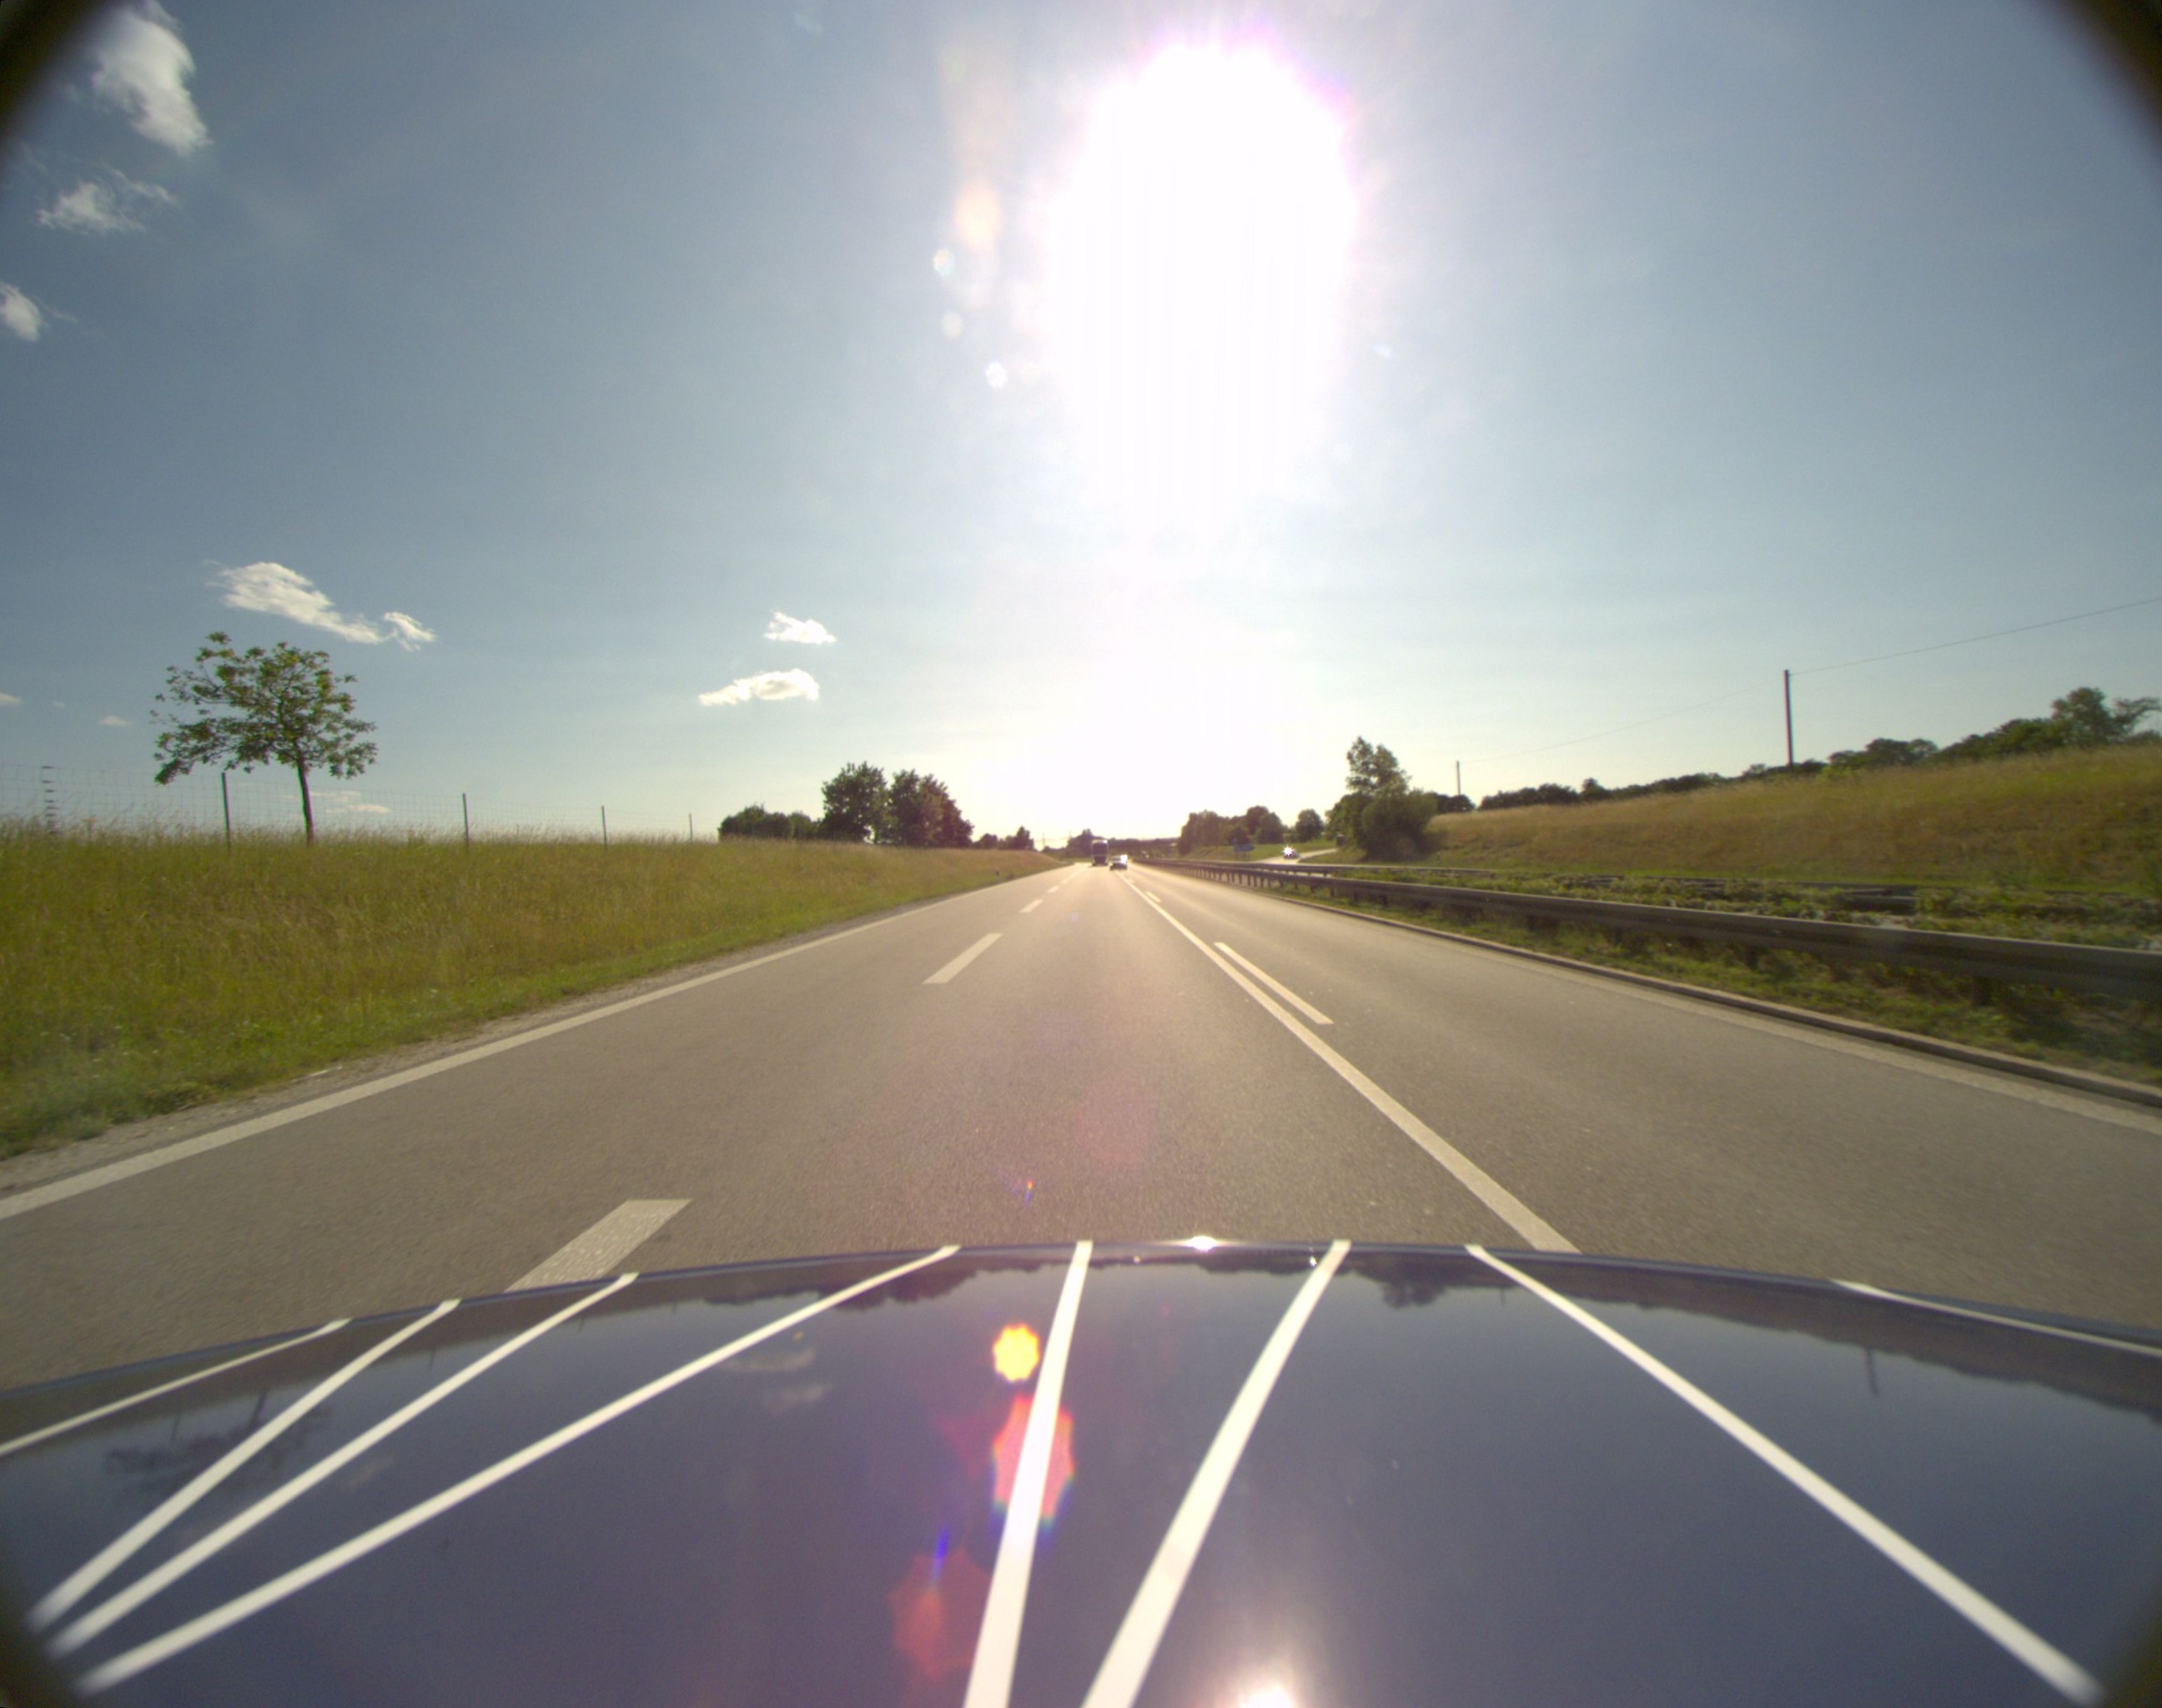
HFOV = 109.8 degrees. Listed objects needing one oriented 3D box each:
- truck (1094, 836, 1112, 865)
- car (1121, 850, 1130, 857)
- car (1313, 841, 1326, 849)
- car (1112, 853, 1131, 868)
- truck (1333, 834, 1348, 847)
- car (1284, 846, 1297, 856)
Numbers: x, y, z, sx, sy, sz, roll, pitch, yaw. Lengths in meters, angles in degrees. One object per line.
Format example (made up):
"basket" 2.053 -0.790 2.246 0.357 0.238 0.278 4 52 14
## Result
"truck" 3.437 -0.577 119.202 2.536 4.228 11.265 -2 1 2
"car" 10.470 -0.098 178.891 1.998 1.652 4.001 -1 0 3
"car" 45.565 -1.682 145.117 1.668 1.368 4.007 -2 1 30
"car" 4.217 0.701 80.346 1.870 1.514 4.284 -1 0 2
"truck" 48.658 -2.571 142.356 1.952 2.398 4.787 -2 1 27
"car" 31.393 -0.436 113.909 1.669 1.368 4.005 -2 1 19
